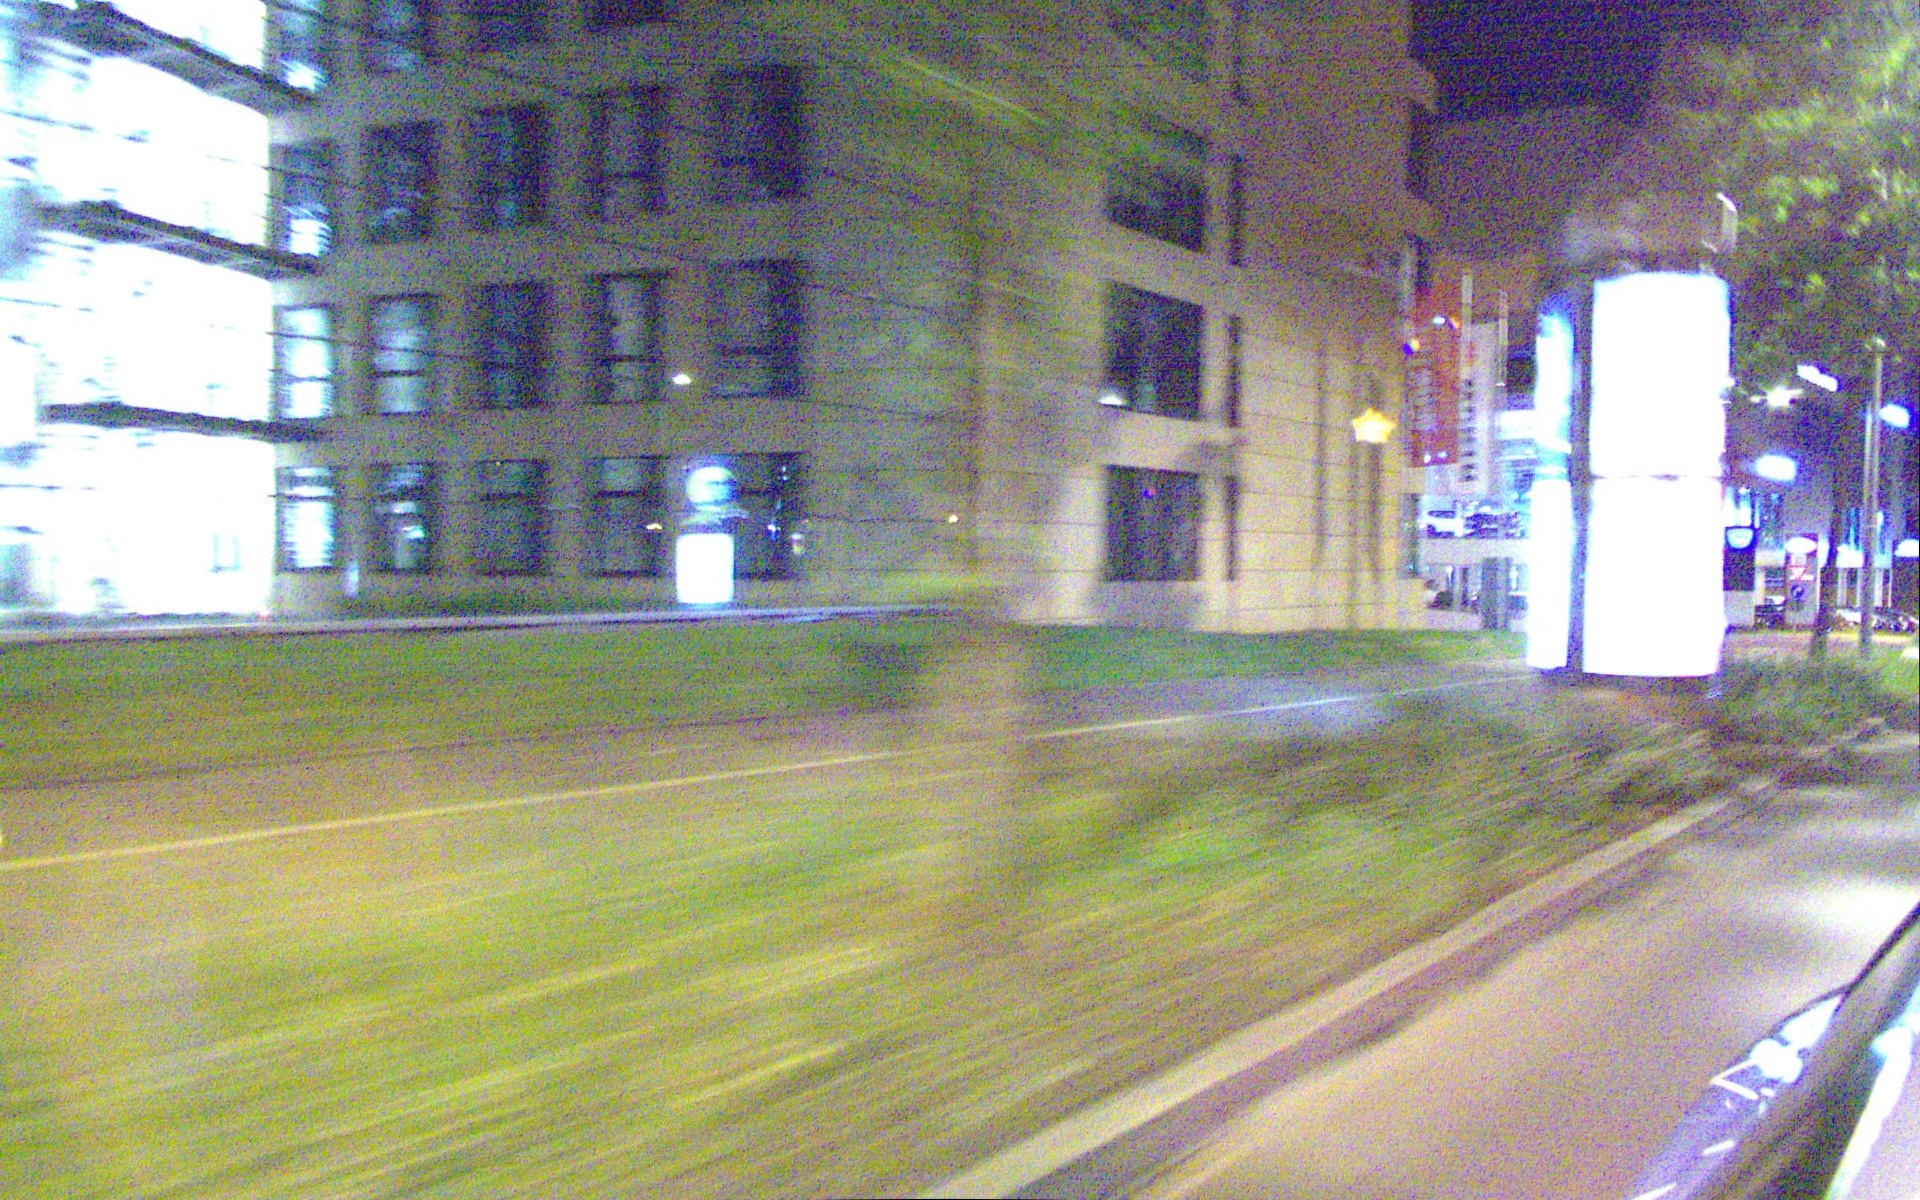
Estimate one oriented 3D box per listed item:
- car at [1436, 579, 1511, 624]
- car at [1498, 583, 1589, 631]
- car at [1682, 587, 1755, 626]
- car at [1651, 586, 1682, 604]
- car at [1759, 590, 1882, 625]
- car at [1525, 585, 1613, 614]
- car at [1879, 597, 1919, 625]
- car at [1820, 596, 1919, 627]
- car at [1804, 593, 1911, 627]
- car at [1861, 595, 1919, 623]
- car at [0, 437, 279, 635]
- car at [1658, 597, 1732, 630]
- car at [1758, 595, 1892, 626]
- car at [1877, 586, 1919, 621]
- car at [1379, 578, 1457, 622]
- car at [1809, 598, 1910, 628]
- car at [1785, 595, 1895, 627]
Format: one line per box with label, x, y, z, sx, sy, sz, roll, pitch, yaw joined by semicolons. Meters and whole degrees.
car;24.092;0.079;47.413;4.336;2.019;1.813;1;1;-44
car;26.272;0.307;45.479;5.533;2.039;1.996;1;1;-43
car;40.495;0.328;54.140;1.564;1.817;3.858;1;3;12
car;66.483;-0.488;95.269;1.984;1.682;4.618;2;1;30
car;38.569;0.312;45.481;4.116;1.438;1.850;1;0;40
car;36.910;-0.041;61.445;4.261;1.675;1.649;2;0;16
car;62.972;0.850;65.926;4.465;1.565;1.742;9;6;44
car;50.530;0.617;56.131;3.970;1.409;1.806;5;1;31
car;48.301;0.508;54.575;3.974;1.488;1.811;5;2;34
car;58.449;0.610;62.665;3.799;1.470;1.693;6;3;40
car;-9.818;-0.658;11.402;3.739;1.886;1.982;2;0;27
car;37.449;0.652;51.685;1.755;1.426;4.315;2;2;18
car;42.202;0.515;49.531;4.603;1.280;1.928;3;0;29
car;79.145;0.525;82.570;6.008;2.558;2.253;9;5;37
car;22.163;0.023;48.934;4.336;2.019;1.953;1;1;-44
car;46.473;0.647;52.372;3.582;1.451;1.662;2;1;30
car;44.405;0.540;51.176;3.976;1.442;1.884;3;0;36
